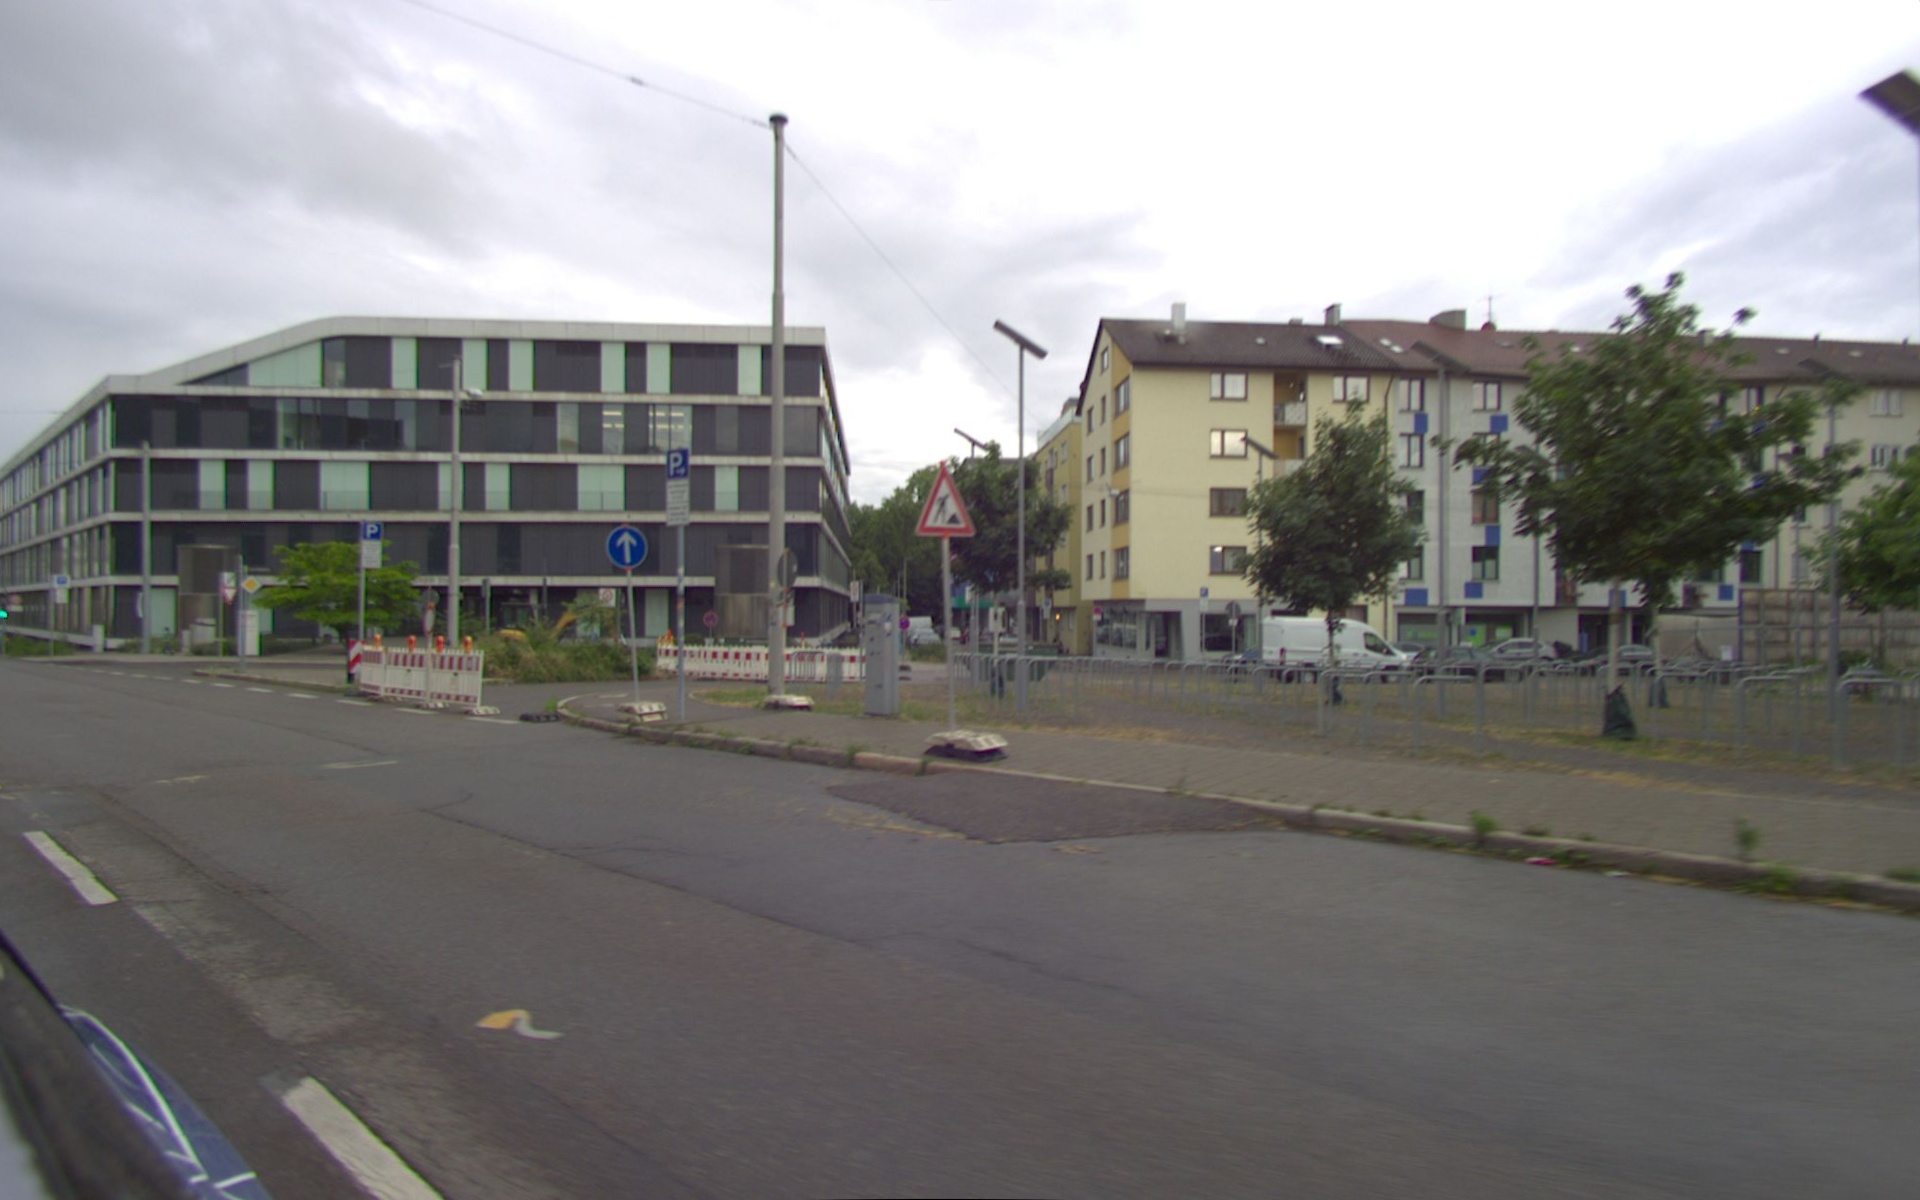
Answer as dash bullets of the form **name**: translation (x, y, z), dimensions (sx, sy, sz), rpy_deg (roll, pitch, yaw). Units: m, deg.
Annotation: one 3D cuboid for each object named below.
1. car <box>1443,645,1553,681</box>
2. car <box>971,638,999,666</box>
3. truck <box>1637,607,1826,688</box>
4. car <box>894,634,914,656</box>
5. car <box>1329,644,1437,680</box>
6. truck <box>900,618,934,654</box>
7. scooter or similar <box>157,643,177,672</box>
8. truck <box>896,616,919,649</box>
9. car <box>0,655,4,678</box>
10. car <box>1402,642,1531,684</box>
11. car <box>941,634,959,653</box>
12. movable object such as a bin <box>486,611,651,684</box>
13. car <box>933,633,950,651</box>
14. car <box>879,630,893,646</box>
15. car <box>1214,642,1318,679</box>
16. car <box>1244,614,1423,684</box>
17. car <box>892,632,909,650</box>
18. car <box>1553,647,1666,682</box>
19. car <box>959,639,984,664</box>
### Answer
- **car**: translation (23.869, 2.799, 45.001), dimensions (3.938, 1.522, 1.802), rpy_deg (1, -3, -6)
- **car**: translation (1.930, 4.158, 80.213), dimensions (1.773, 2.170, 4.004), rpy_deg (0, -3, -5)
- **truck**: translation (29.789, 1.878, 39.205), dimensions (5.208, 2.954, 2.784), rpy_deg (1, -3, -6)
- **car**: translation (-5.260, 4.219, 94.335), dimensions (1.773, 2.029, 4.004), rpy_deg (0, -3, -5)
- **car**: translation (18.609, 2.725, 44.629), dimensions (3.939, 1.522, 1.802), rpy_deg (1, -3, -5)
- **truck**: translation (-6.949, 5.777, 160.720), dimensions (4.749, 5.440, 13.917), rpy_deg (0, -3, -5)
- **scooter or similar**: translation (-35.661, 2.568, 45.516), dimensions (1.231, 1.258, 0.491), rpy_deg (-1, 0, 43)
- **truck**: translation (-7.452, 4.655, 142.404), dimensions (2.954, 4.396, 8.008), rpy_deg (0, -3, -5)
- **car**: translation (-64.706, 4.378, 67.010), dimensions (3.581, 1.478, 1.621), rpy_deg (-2, -2, 40)
- **car**: translation (19.023, 2.373, 38.134), dimensions (3.939, 1.522, 1.802), rpy_deg (1, -3, -5)
- **car**: translation (-1.190, 5.073, 116.595), dimensions (1.773, 2.170, 4.004), rpy_deg (0, -3, -5)
- **movable object such as a bin**: translation (-13.732, 1.654, 35.675), dimensions (5.218, 2.478, 1.670), rpy_deg (0, -1, 2)
- **car**: translation (-2.314, 5.283, 126.743), dimensions (1.773, 2.170, 4.004), rpy_deg (0, -3, -5)
- **car**: translation (-9.734, 4.993, 132.300), dimensions (1.773, 2.029, 4.004), rpy_deg (0, -3, -5)
- **car**: translation (13.296, 2.645, 44.069), dimensions (3.938, 1.522, 1.802), rpy_deg (1, -3, -6)
- **car**: translation (13.862, 1.843, 37.795), dimensions (5.643, 2.432, 2.678), rpy_deg (1, -3, -7)
- **car**: translation (-6.701, 4.597, 112.855), dimensions (1.773, 2.029, 4.004), rpy_deg (0, -3, -5)
- **car**: translation (28.973, 2.878, 45.228), dimensions (3.938, 1.522, 1.802), rpy_deg (1, -3, -6)
- **car**: translation (0.984, 4.491, 88.080), dimensions (1.773, 2.170, 4.004), rpy_deg (0, -3, -5)
